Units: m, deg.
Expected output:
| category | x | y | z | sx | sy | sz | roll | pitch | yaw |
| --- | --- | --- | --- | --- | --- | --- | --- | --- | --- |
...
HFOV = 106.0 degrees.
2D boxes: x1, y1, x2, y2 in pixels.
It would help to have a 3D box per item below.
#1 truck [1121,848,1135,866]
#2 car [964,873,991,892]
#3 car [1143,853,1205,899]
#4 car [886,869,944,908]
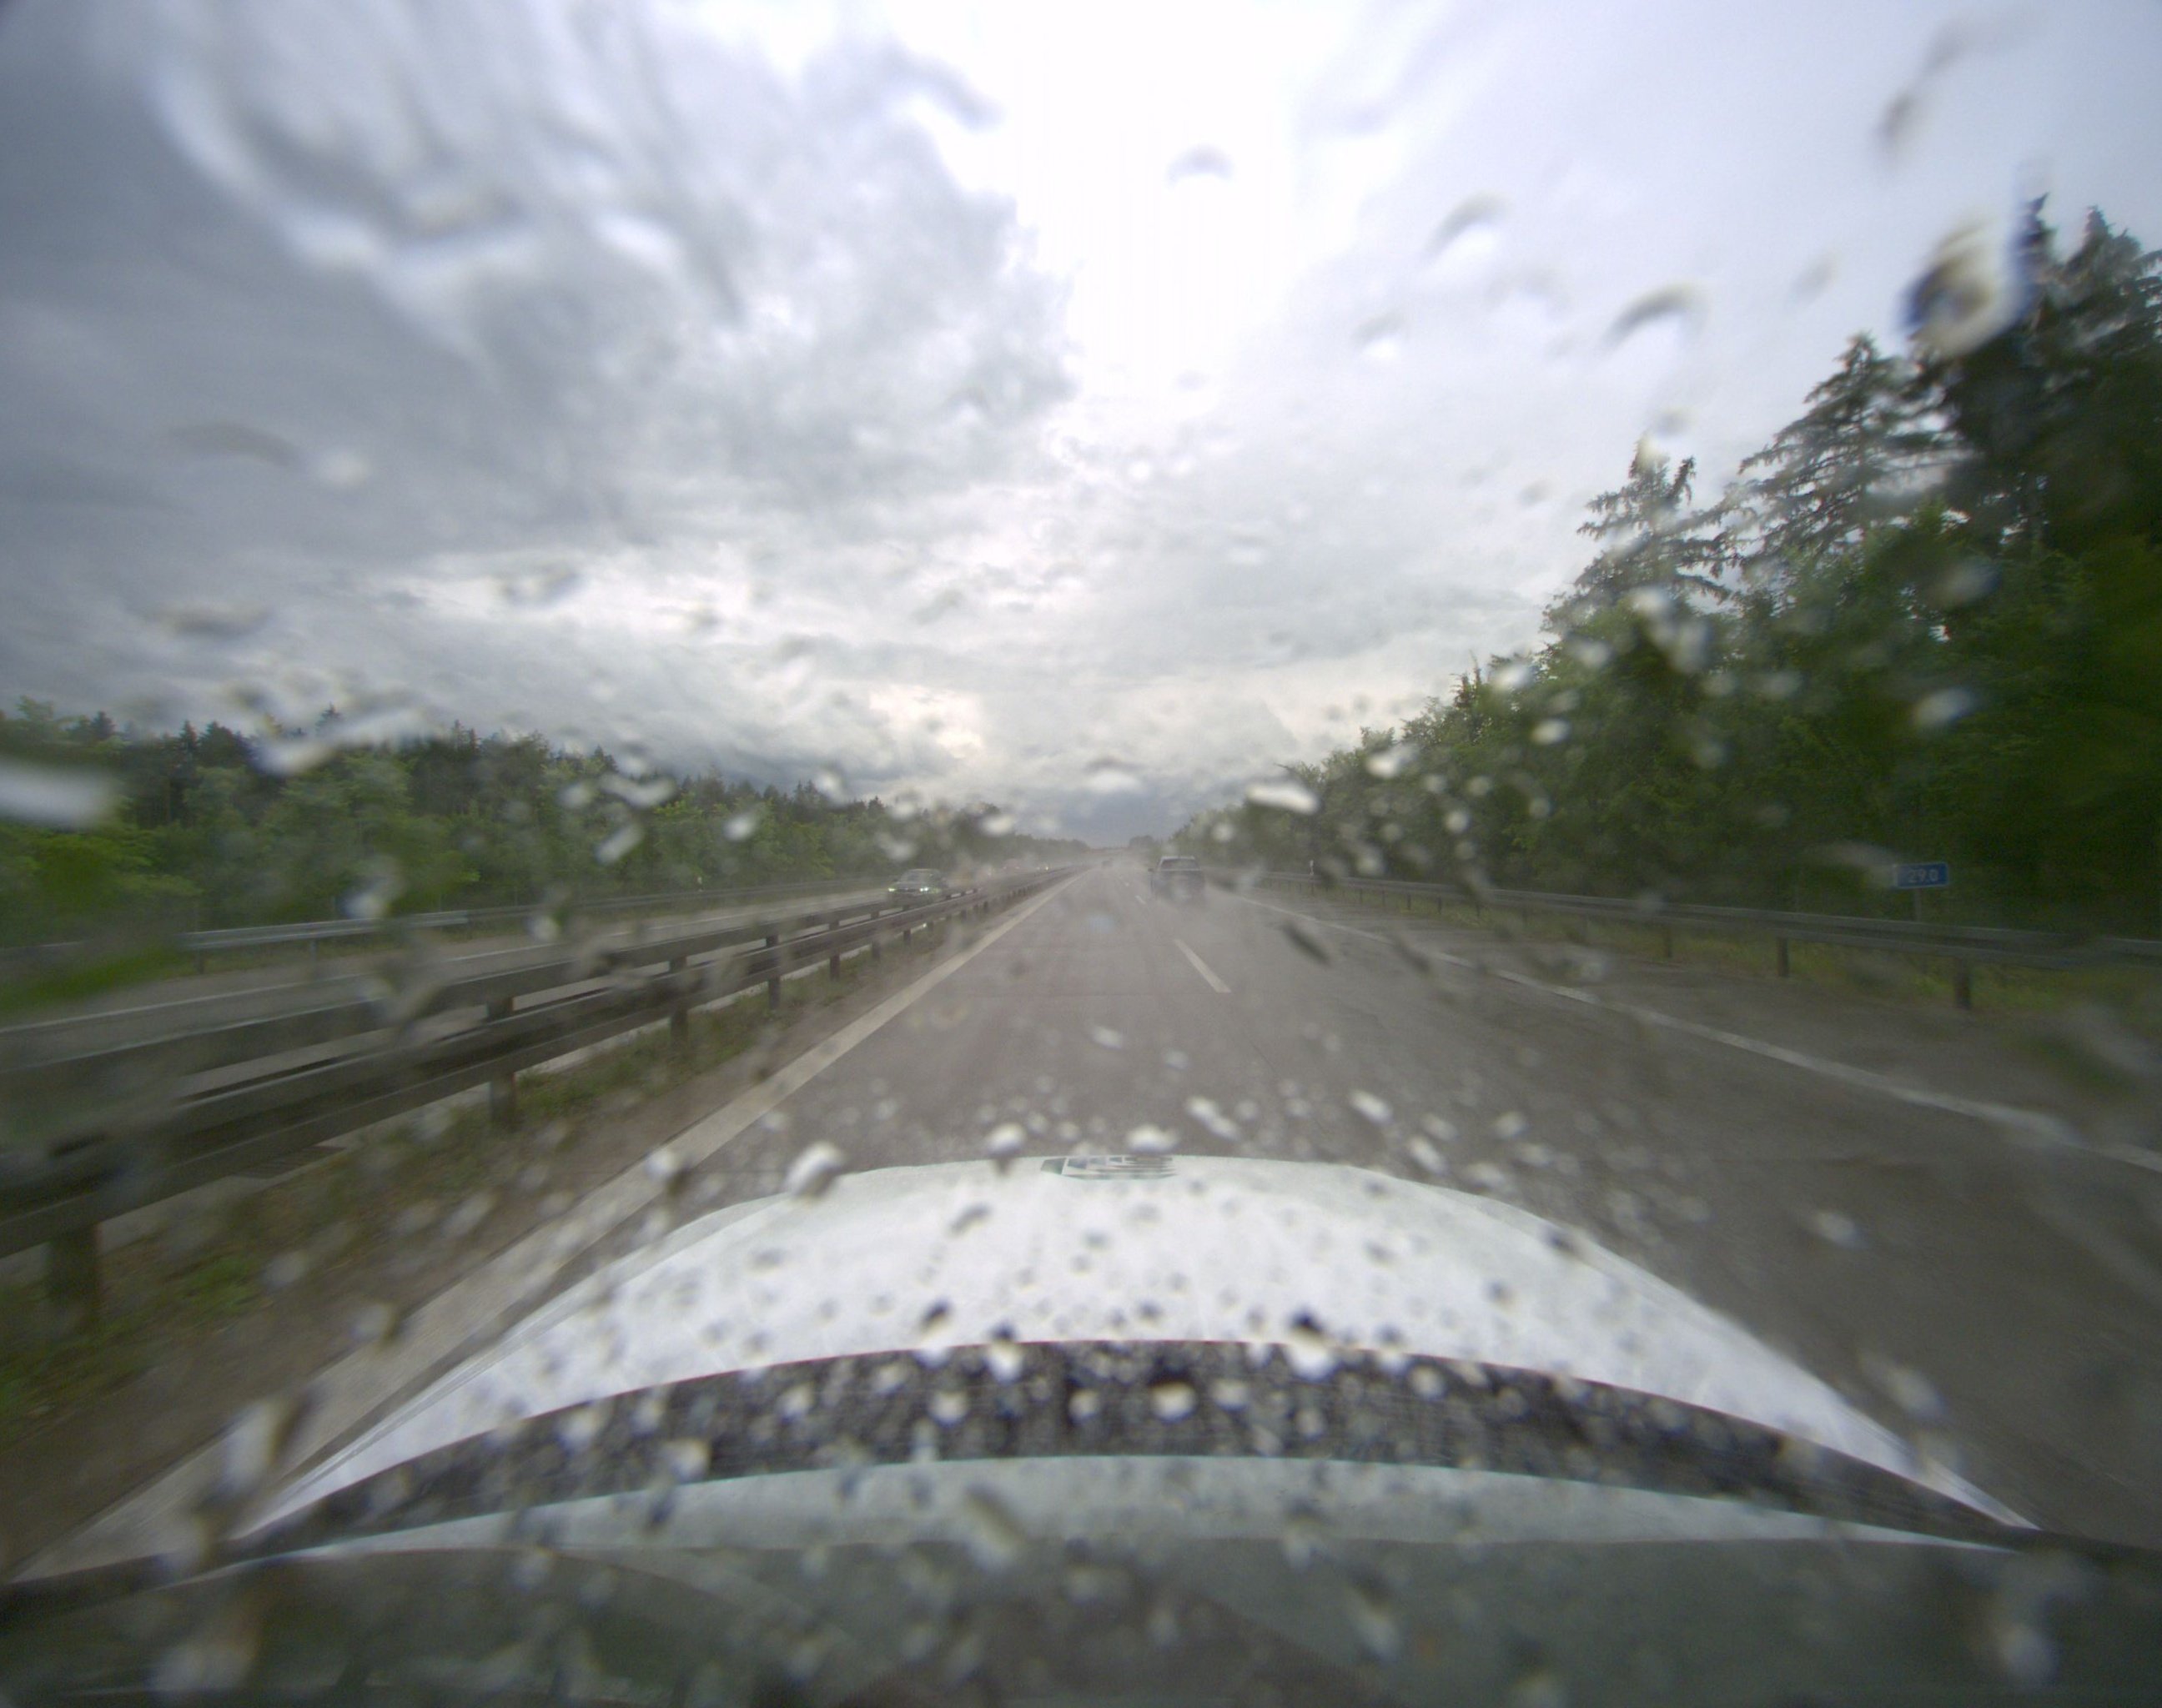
| category | x | y | z | sx | sy | sz | roll | pitch | yaw |
| --- | --- | --- | --- | --- | --- | --- | --- | --- | --- |
| truck | 12.033 | 0.770 | 208.817 | 3.228 | 4.437 | 8.256 | -2 | -1 | 5 |
| car | -9.182 | 2.487 | 72.813 | 1.743 | 1.435 | 3.919 | -4 | 0 | 1 |
| car | 3.374 | 0.805 | 30.053 | 1.888 | 1.576 | 3.631 | -1 | -1 | 0 |
| car | -6.901 | 1.410 | 34.231 | 1.514 | 1.403 | 3.931 | -2 | 0 | 1 |
